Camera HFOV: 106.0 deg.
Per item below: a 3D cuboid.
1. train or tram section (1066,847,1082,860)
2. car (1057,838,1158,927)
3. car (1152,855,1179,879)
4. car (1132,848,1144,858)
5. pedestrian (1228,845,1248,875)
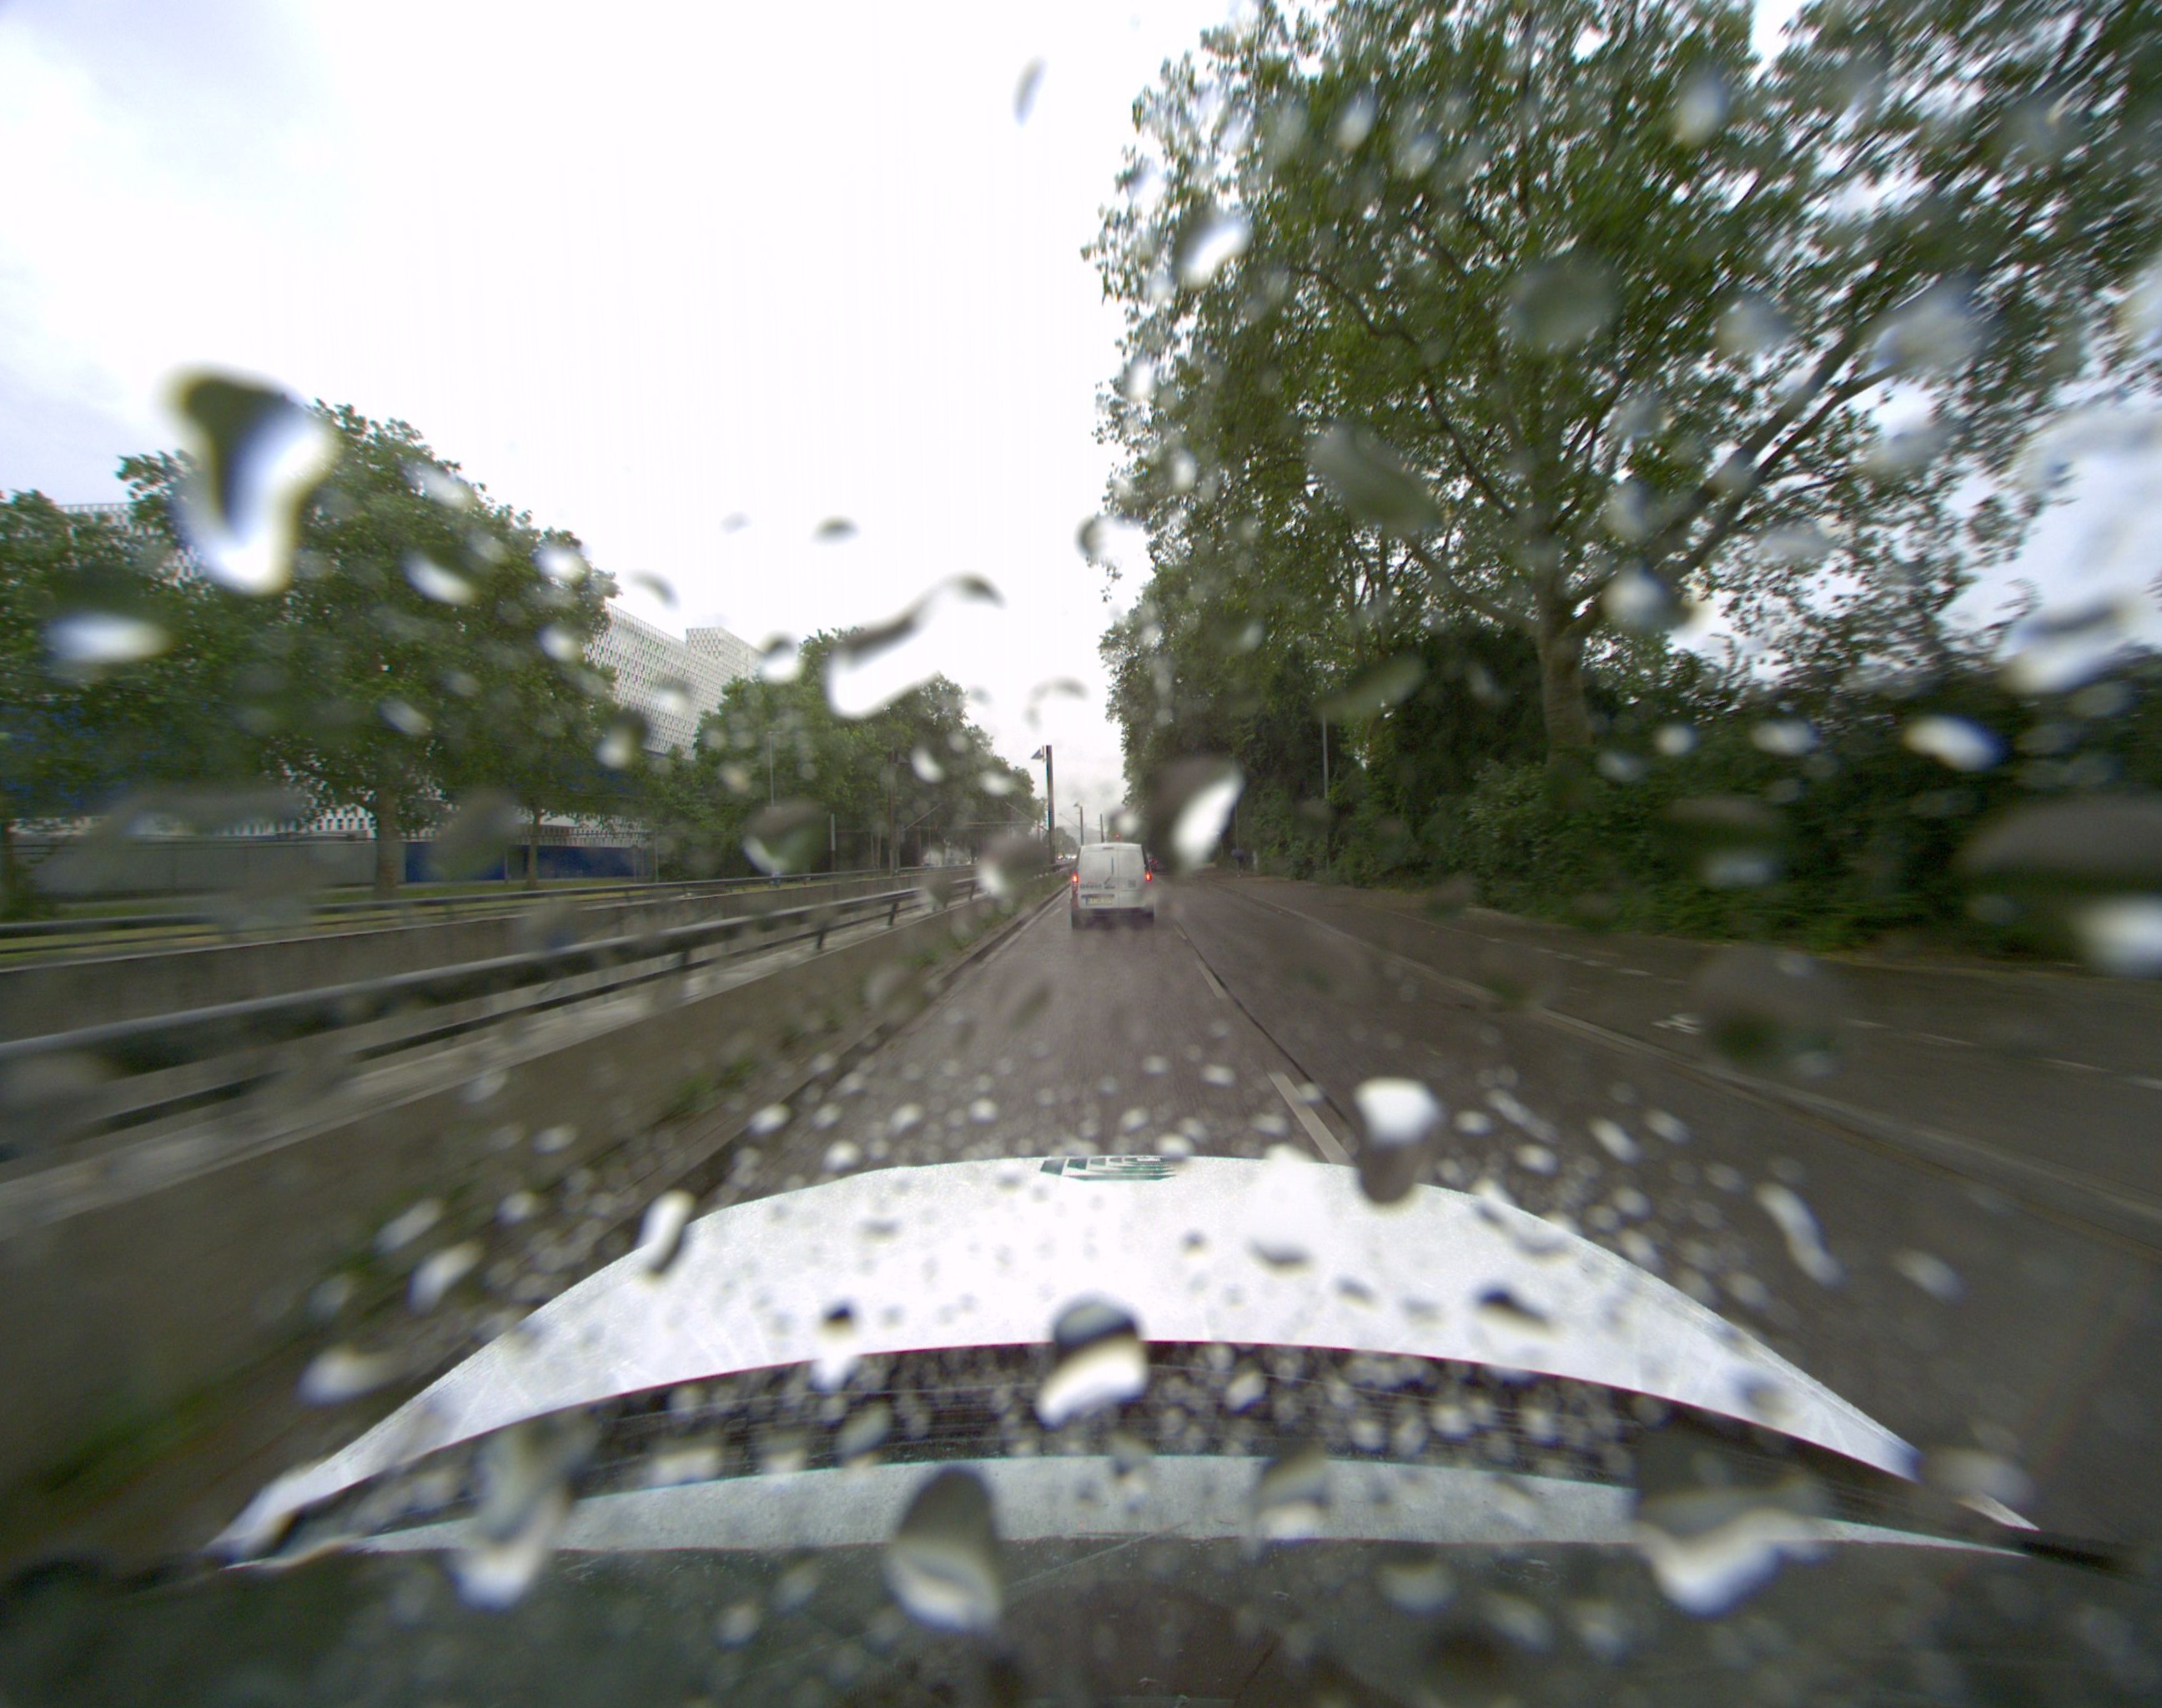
[{"bbox_3d":[-2.107,-0.095,264.331,3.755,4.036,27.106,0,0,2],"label":"train or tram section"},{"bbox_3d":[0.589,0.578,18.470,2.017,1.775,4.275,0,0,1],"label":"car"},{"bbox_3d":[6.526,0.964,62.656,1.983,1.750,4.007,0,0,6],"label":"car"},{"bbox_3d":[9.384,-0.144,135.095,1.985,1.750,4.004,0,0,4],"label":"car"},{"bbox_3d":[9.110,0.362,47.323,0.963,1.702,1.141,0,0,3],"label":"pedestrian"}]
